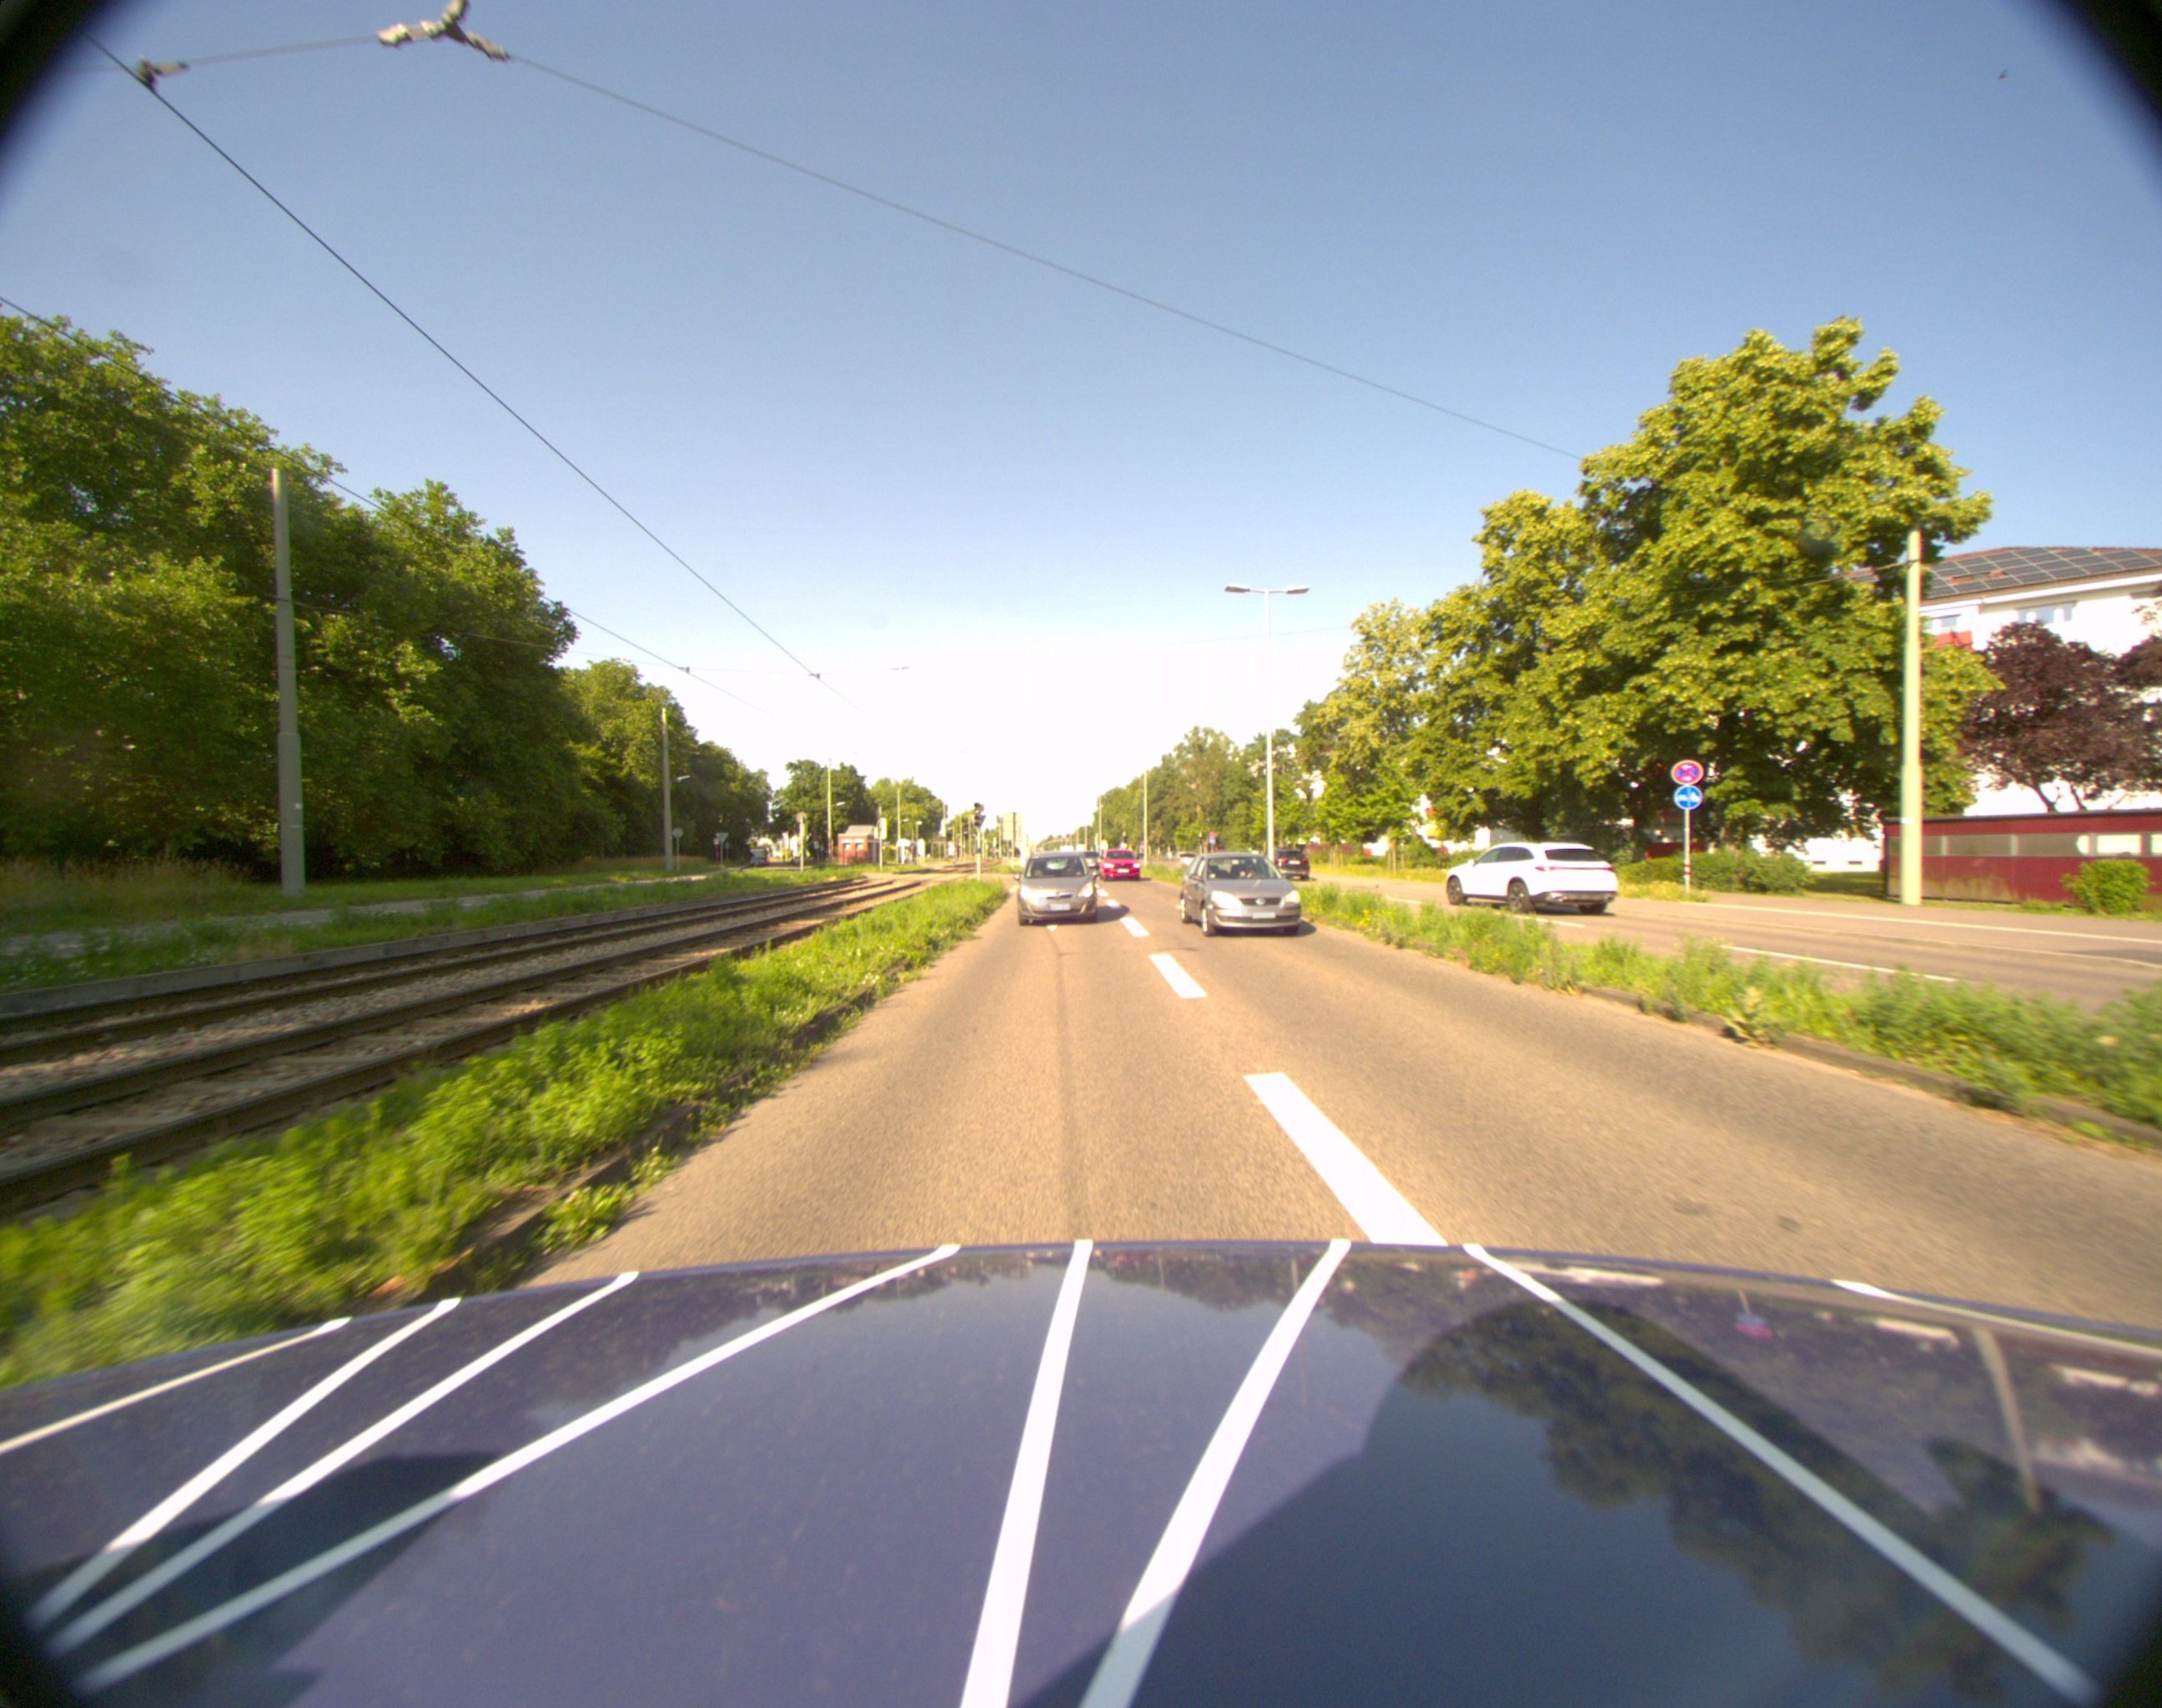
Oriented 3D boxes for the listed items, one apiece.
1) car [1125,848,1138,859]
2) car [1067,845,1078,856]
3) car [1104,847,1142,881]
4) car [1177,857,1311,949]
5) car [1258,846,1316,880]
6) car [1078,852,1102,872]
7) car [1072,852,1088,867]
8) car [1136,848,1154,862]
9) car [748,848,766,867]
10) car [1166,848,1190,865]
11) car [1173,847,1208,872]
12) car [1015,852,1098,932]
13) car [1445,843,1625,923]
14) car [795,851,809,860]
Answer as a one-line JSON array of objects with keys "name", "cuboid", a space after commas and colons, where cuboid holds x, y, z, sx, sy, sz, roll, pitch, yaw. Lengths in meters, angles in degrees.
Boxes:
[{"name": "car", "cuboid": [8.033, -0.038, 120.937, 1.774, 1.669, 4.048, 1, 0, -2]}, {"name": "car", "cuboid": [-1.323, -0.559, 117.104, 1.710, 1.513, 3.832, -2, 0, -2]}, {"name": "car", "cuboid": [2.084, 0.465, 38.658, 1.692, 1.573, 3.833, -2, 0, 0]}, {"name": "car", "cuboid": [2.897, 0.809, 14.269, 1.692, 1.420, 3.833, -2, 0, 0]}, {"name": "car", "cuboid": [10.663, 0.433, 39.627, 1.774, 1.669, 4.048, 1, 0, -2]}, {"name": "car", "cuboid": [0.682, 0.588, 60.387, 1.710, 1.513, 3.832, -2, 0, -2]}, {"name": "car", "cuboid": [-0.135, 0.632, 88.346, 1.774, 1.669, 4.048, 1, 0, -2]}, {"name": "car", "cuboid": [8.348, 0.129, 99.446, 1.774, 1.669, 4.048, 1, 0, -2]}, {"name": "car", "cuboid": [-43.977, 0.513, 103.149, 1.863, 2.506, 3.852, -3, 1, -27]}, {"name": "car", "cuboid": [9.868, 0.232, 77.604, 1.774, 1.669, 4.048, 1, 0, -2]}, {"name": "car", "cuboid": [7.637, 0.375, 53.308, 1.774, 1.669, 4.048, 1, 0, -2]}, {"name": "car", "cuboid": [-0.531, 0.775, 17.544, 1.650, 1.581, 3.832, -2, 0, -1]}, {"name": "car", "cuboid": [10.730, 0.607, 18.410, 1.664, 1.669, 4.514, 1, 0, 0]}, {"name": "car", "cuboid": [-47.450, 0.279, 129.083, 1.809, 1.384, 3.776, -1, 1, -28]}]
